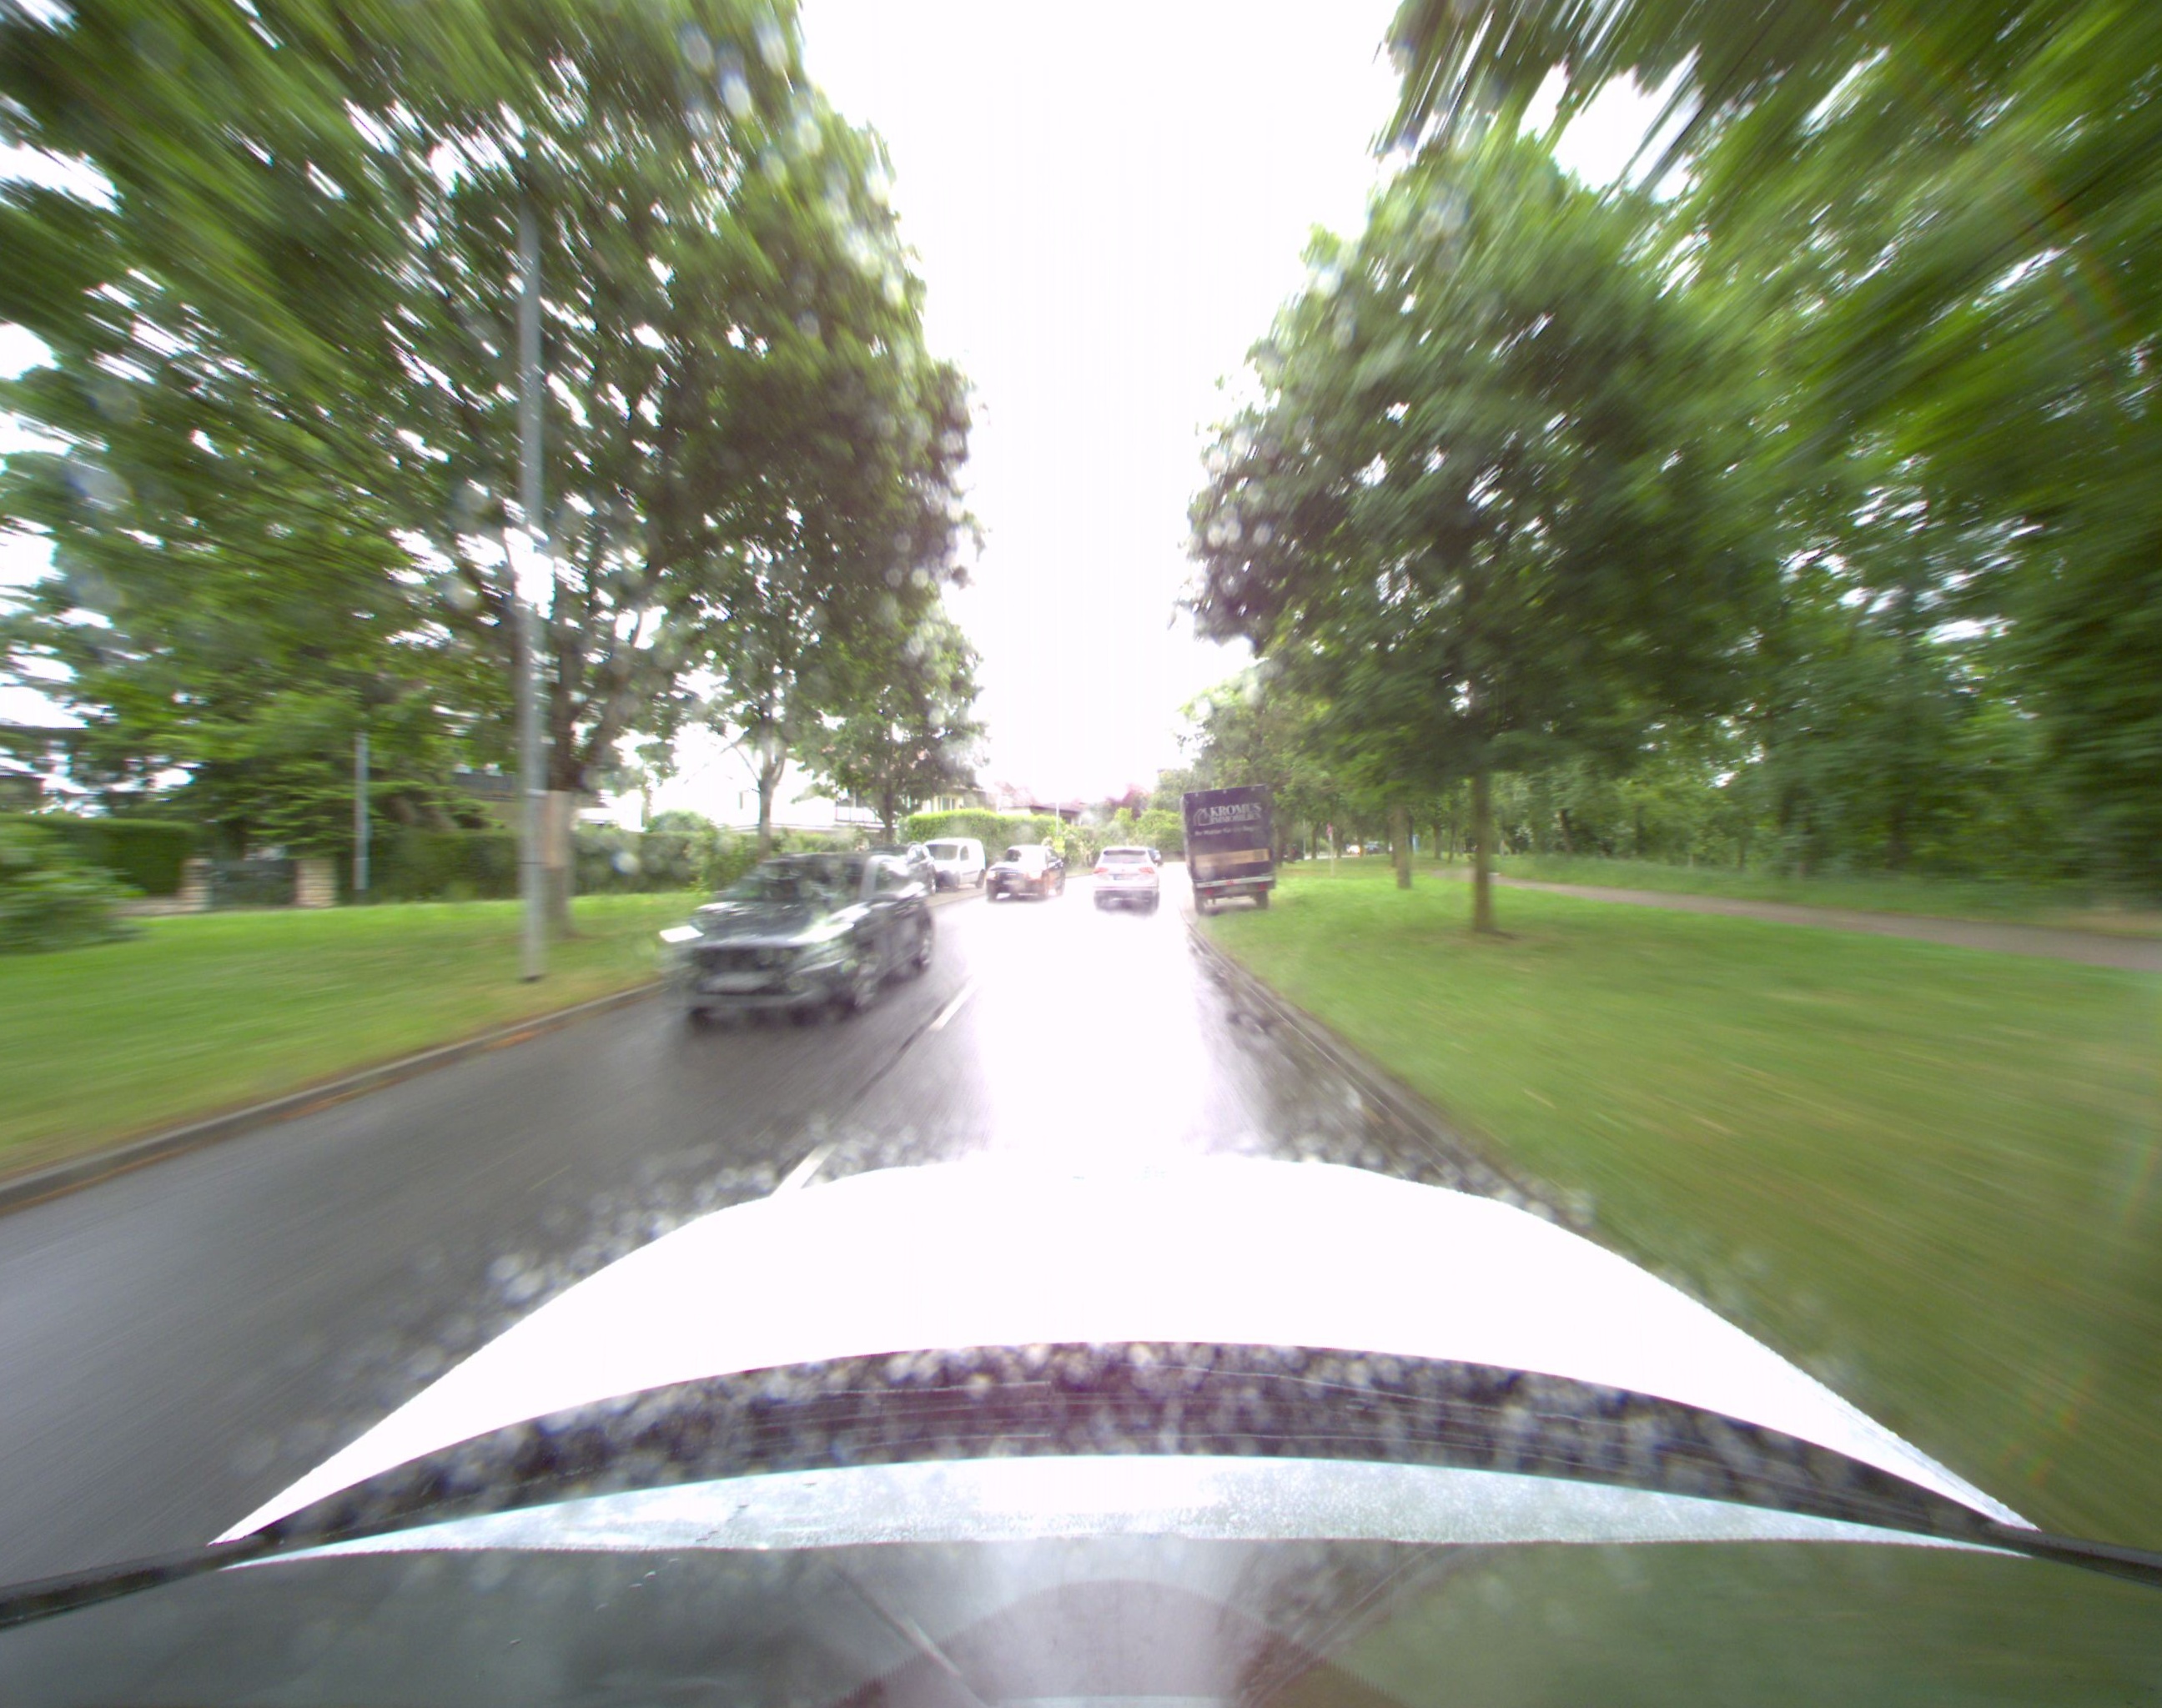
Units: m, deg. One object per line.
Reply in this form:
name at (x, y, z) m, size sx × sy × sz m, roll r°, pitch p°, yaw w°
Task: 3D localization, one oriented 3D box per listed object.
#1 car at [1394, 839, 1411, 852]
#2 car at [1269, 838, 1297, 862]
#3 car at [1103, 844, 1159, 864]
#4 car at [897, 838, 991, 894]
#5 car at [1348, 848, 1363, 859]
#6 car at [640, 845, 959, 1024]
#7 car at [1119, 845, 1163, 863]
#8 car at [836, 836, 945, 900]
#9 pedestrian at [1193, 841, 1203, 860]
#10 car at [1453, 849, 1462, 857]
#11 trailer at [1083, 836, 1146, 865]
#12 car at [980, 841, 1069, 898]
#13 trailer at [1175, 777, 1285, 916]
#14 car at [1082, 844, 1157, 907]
car at (47.979, -1.274, 121.396) m, size 1.975 × 1.804 × 4.023 m, roll 1°, pitch 0°, yaw 26°
car at (17.800, -0.338, 71.740) m, size 1.885 × 2.014 × 3.965 m, roll 1°, pitch 0°, yaw 21°
car at (4.147, -0.011, 67.365) m, size 4.200 × 1.539 × 2.064 m, roll 0°, pitch 0°, yaw 24°
car at (-4.746, 0.378, 28.862) m, size 1.786 × 1.795 × 4.387 m, roll 1°, pitch 0°, yaw 12°
car at (40.458, -0.030, 120.129) m, size 1.568 × 1.477 × 3.919 m, roll -2°, pitch 0°, yaw 27°
car at (-2.784, 0.683, 9.167) m, size 1.780 × 1.537 × 4.100 m, roll 0°, pitch 1°, yaw 6°
car at (5.187, -0.025, 70.466) m, size 3.372 × 1.519 × 1.741 m, roll 0°, pitch 0°, yaw 24°
car at (-5.379, 0.373, 23.642) m, size 1.742 × 1.640 × 4.597 m, roll 1°, pitch 0°, yaw 4°
pedestrian at (10.290, -0.270, 71.771) m, size 0.771 × 1.661 × 0.846 m, roll 0°, pitch 1°, yaw 13°
car at (76.651, -0.148, 165.925) m, size 1.409 × 1.570 × 3.447 m, roll 1°, pitch 0°, yaw 20°
trailer at (2.660, -0.281, 64.304) m, size 4.579 × 2.171 × 1.825 m, roll 0°, pitch 0°, yaw 24°
car at (-1.730, 0.451, 26.498) m, size 1.840 × 1.691 × 4.417 m, roll 0°, pitch 1°, yaw 10°
trailer at (3.538, -0.184, 20.408) m, size 1.984 × 2.808 × 5.617 m, roll -6°, pitch 0°, yaw 5°
car at (1.081, 0.577, 23.716) m, size 1.967 × 1.653 × 4.178 m, roll 1°, pitch 0°, yaw 1°
